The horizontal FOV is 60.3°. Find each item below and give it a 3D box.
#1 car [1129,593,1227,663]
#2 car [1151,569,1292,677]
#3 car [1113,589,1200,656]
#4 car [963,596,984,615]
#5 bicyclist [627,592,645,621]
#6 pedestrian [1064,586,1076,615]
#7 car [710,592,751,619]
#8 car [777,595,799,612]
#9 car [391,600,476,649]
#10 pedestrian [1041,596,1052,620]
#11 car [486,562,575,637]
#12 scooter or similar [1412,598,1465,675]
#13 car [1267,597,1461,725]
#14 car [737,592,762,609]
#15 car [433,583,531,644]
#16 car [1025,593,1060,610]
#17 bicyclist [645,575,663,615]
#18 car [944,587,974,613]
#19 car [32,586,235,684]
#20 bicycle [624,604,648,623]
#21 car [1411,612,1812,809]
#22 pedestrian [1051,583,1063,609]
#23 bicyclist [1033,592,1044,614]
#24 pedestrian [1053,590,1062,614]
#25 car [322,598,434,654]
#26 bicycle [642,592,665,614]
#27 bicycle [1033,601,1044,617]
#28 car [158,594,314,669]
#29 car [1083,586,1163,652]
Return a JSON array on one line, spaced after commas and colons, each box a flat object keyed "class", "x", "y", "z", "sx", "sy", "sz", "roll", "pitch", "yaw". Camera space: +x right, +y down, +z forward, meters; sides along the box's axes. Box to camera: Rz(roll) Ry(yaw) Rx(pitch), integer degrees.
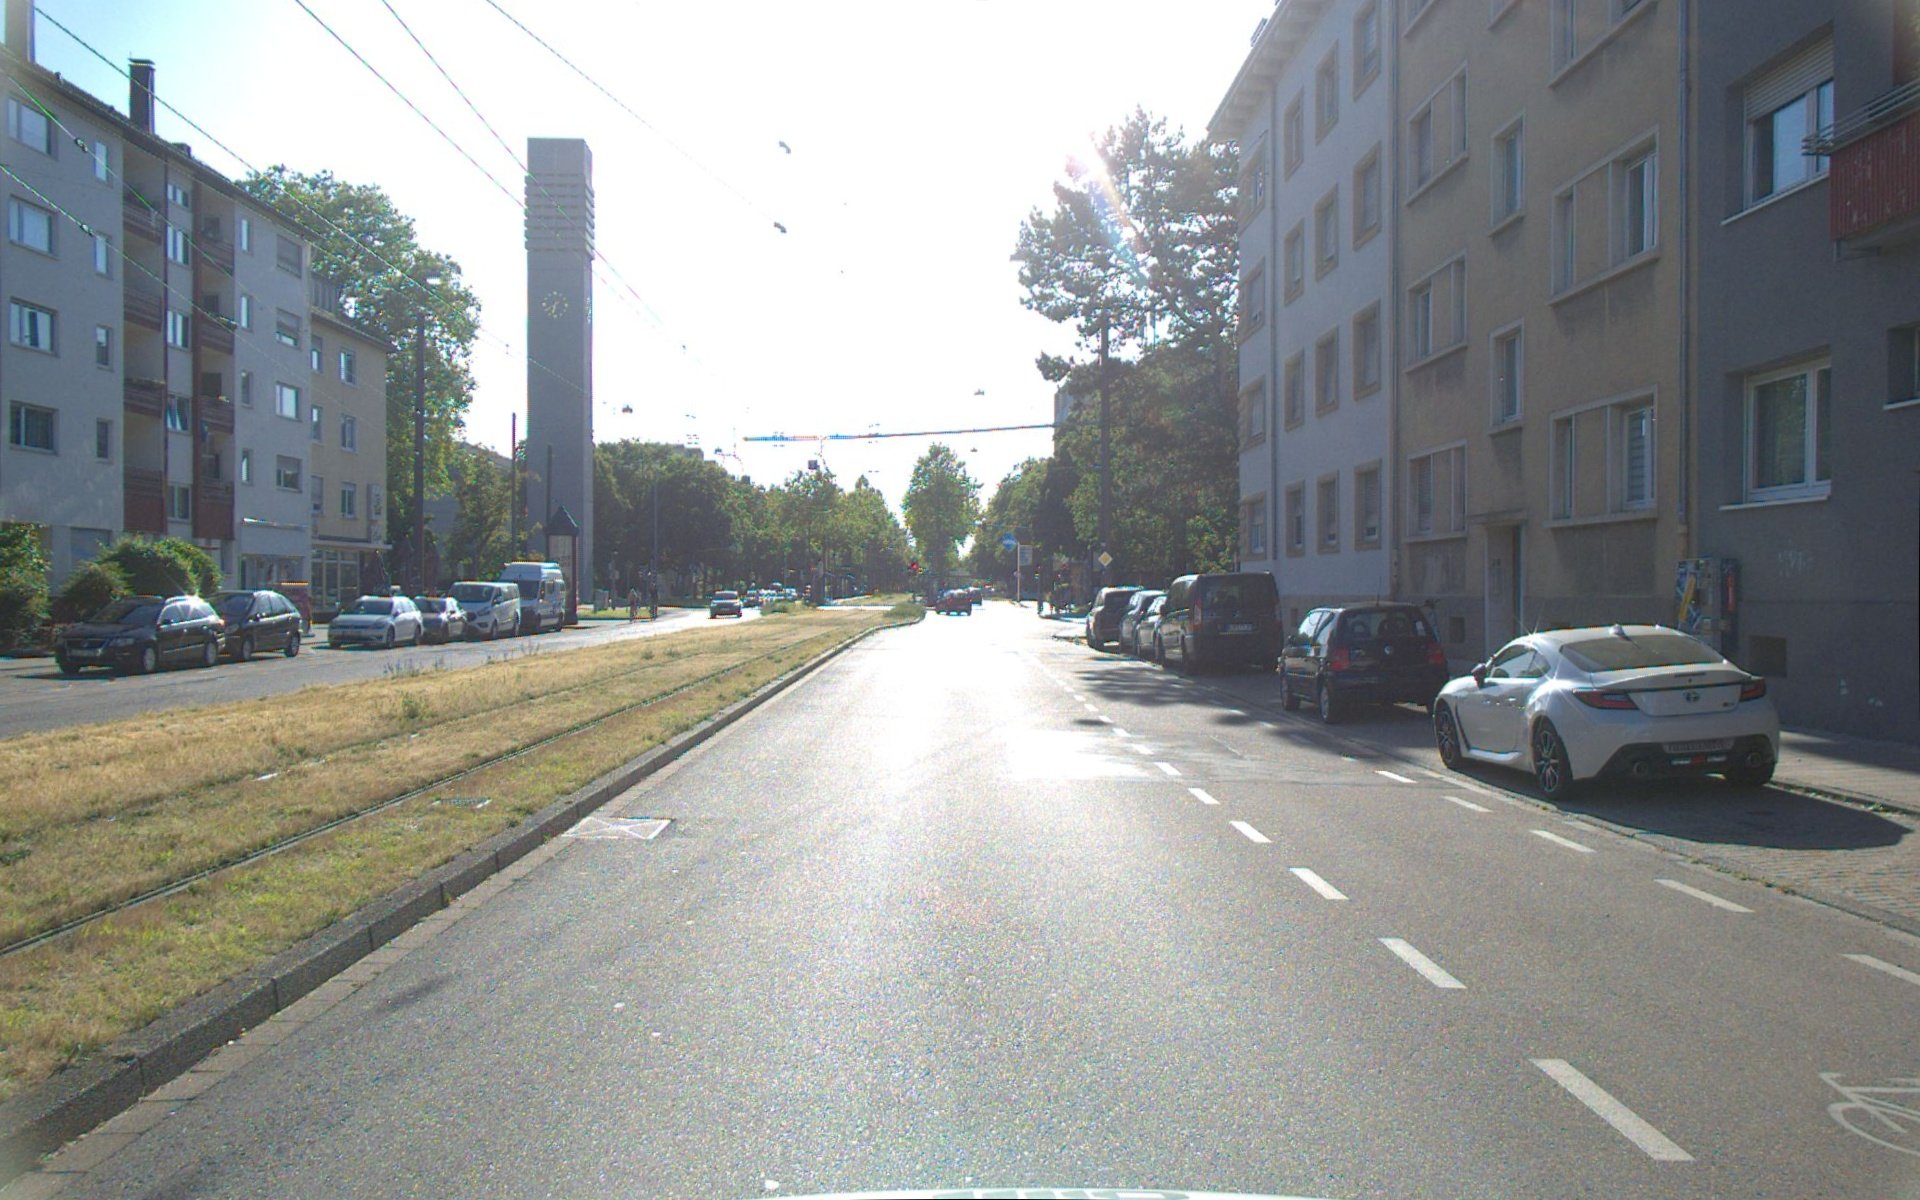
[{"class": "car", "x": 5.010, "y": 0.609, "z": 38.513, "sx": 1.480, "sy": 1.504, "sz": 4.235, "roll": -1, "pitch": 0, "yaw": -3}, {"class": "car", "x": 5.196, "y": 0.415, "z": 33.577, "sx": 1.874, "sy": 1.932, "sz": 5.134, "roll": -3, "pitch": 0, "yaw": -1}, {"class": "car", "x": 5.091, "y": 0.559, "z": 43.351, "sx": 1.562, "sy": 1.606, "sz": 3.893, "roll": -2, "pitch": 0, "yaw": -3}, {"class": "car", "x": 1.275, "y": 0.499, "z": 159.325, "sx": 1.856, "sy": 1.639, "sz": 4.499, "roll": 2, "pitch": 0, "yaw": -2}, {"class": "bicyclist", "x": -16.079, "y": 0.305, "z": 82.057, "sx": 0.757, "sy": 1.408, "sz": 0.648, "roll": 0, "pitch": 0, "yaw": -1}, {"class": "pedestrian", "x": 6.972, "y": 0.011, "z": 105.120, "sx": 0.688, "sy": 1.821, "sz": 0.694, "roll": -2, "pitch": 1, "yaw": 5}, {"class": "car", "x": -12.896, "y": 0.287, "z": 93.018, "sx": 1.659, "sy": 1.473, "sz": 4.217, "roll": -1, "pitch": 0, "yaw": 0}, {"class": "car", "x": -15.930, "y": 0.286, "z": 153.604, "sx": 1.653, "sy": 1.560, "sz": 4.360, "roll": 0, "pitch": 0, "yaw": 0}, {"class": "car", "x": -17.540, "y": 0.788, "z": 55.254, "sx": 1.661, "sy": 1.541, "sz": 4.324, "roll": 1, "pitch": 0, "yaw": -3}, {"class": "pedestrian", "x": 5.792, "y": 0.530, "z": 111.076, "sx": 0.633, "sy": 1.549, "sz": 0.496, "roll": 2, "pitch": 0, "yaw": 12}, {"class": "car", "x": -17.721, "y": -0.033, "z": 68.553, "sx": 1.990, "sy": 2.919, "sz": 6.228, "roll": 1, "pitch": 0, "yaw": 0}, {"class": "scooter or similar", "x": 8.244, "y": 0.608, "z": 28.524, "sx": 0.449, "sy": 1.260, "sz": 1.338, "roll": -4, "pitch": 0, "yaw": 0}, {"class": "car", "x": 5.316, "y": 0.747, "z": 22.209, "sx": 1.602, "sy": 1.479, "sz": 3.789, "roll": -2, "pitch": 0, "yaw": -1}, {"class": "car", "x": -19.348, "y": 0.042, "z": 152.244, "sx": 1.770, "sy": 1.560, "sz": 4.360, "roll": 0, "pitch": 0, "yaw": -1}, {"class": "car", "x": -17.670, "y": 0.465, "z": 61.452, "sx": 1.991, "sy": 2.056, "sz": 5.370, "roll": 2, "pitch": 0, "yaw": 0}, {"class": "car", "x": 9.744, "y": 0.156, "z": 195.078, "sx": 3.902, "sy": 1.892, "sz": 2.013, "roll": 3, "pitch": 0, "yaw": 10}, {"class": "bicyclist", "x": -16.209, "y": -0.259, "z": 87.742, "sx": 0.757, "sy": 2.049, "sz": 0.648, "roll": 2, "pitch": 0, "yaw": -1}, {"class": "car", "x": -0.097, "y": -0.011, "z": 104.559, "sx": 1.660, "sy": 1.534, "sz": 3.697, "roll": 2, "pitch": 0, "yaw": -3}, {"class": "car", "x": -17.327, "y": 0.672, "z": 34.953, "sx": 1.953, "sy": 1.870, "sz": 4.609, "roll": 2, "pitch": 0, "yaw": -1}, {"class": "bicycle", "x": -16.085, "y": 0.661, "z": 82.096, "sx": 0.752, "sy": 0.895, "sz": 2.069, "roll": -2, "pitch": 0, "yaw": 0}, {"class": "car", "x": 5.465, "y": 0.842, "z": 14.526, "sx": 1.668, "sy": 1.297, "sz": 4.302, "roll": -4, "pitch": 0, "yaw": -2}, {"class": "pedestrian", "x": 6.519, "y": -0.241, "z": 111.201, "sx": 0.714, "sy": 1.711, "sz": 0.533, "roll": 2, "pitch": 0, "yaw": 12}, {"class": "bicyclist", "x": 5.008, "y": 0.189, "z": 105.745, "sx": 0.624, "sy": 1.346, "sz": 0.803, "roll": 2, "pitch": 0, "yaw": 2}, {"class": "pedestrian", "x": 6.182, "y": 0.130, "z": 105.220, "sx": 0.518, "sy": 1.555, "sz": 0.628, "roll": -1, "pitch": 0, "yaw": 5}, {"class": "car", "x": -17.486, "y": 0.749, "z": 49.896, "sx": 1.854, "sy": 1.517, "sz": 4.701, "roll": 2, "pitch": 0, "yaw": -3}, {"class": "bicycle", "x": -16.342, "y": 0.149, "z": 88.172, "sx": 0.752, "sy": 1.166, "sz": 2.474, "roll": -2, "pitch": 0, "yaw": 0}, {"class": "bicycle", "x": 5.000, "y": 0.566, "z": 105.721, "sx": 0.634, "sy": 0.989, "sz": 1.804, "roll": 2, "pitch": 0, "yaw": 2}, {"class": "car", "x": -17.552, "y": 0.718, "z": 40.319, "sx": 1.953, "sy": 1.635, "sz": 4.150, "roll": 2, "pitch": 0, "yaw": -1}, {"class": "car", "x": 4.737, "y": 0.505, "z": 48.676, "sx": 1.840, "sy": 1.746, "sz": 4.934, "roll": -3, "pitch": 0, "yaw": 0}]
